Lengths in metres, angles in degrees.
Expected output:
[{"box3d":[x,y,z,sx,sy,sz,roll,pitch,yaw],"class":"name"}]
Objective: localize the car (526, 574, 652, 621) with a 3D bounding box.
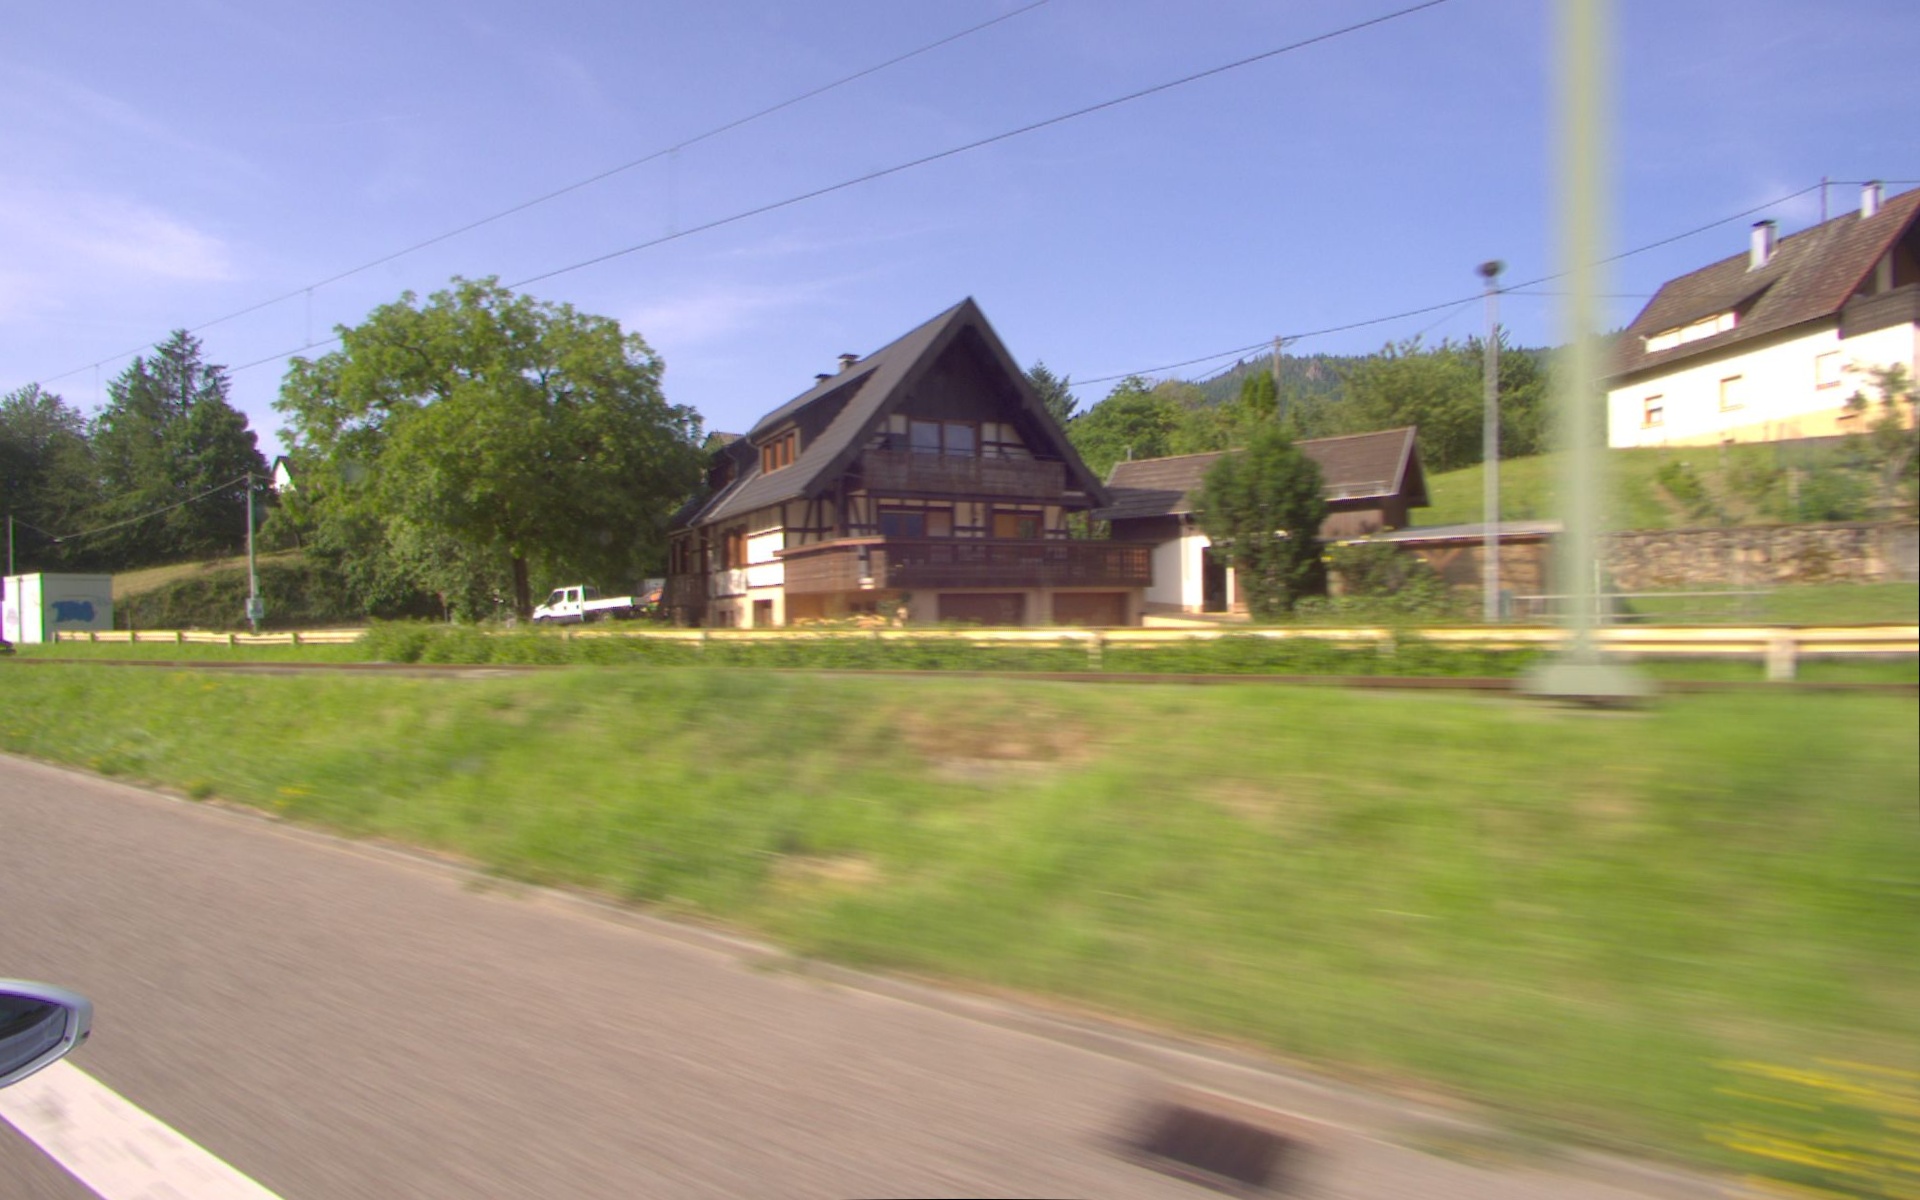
[{"box3d":[-20.248,-0.150,54.769,5.919,2.363,2.381,-1,2,7],"class":"car"}]
